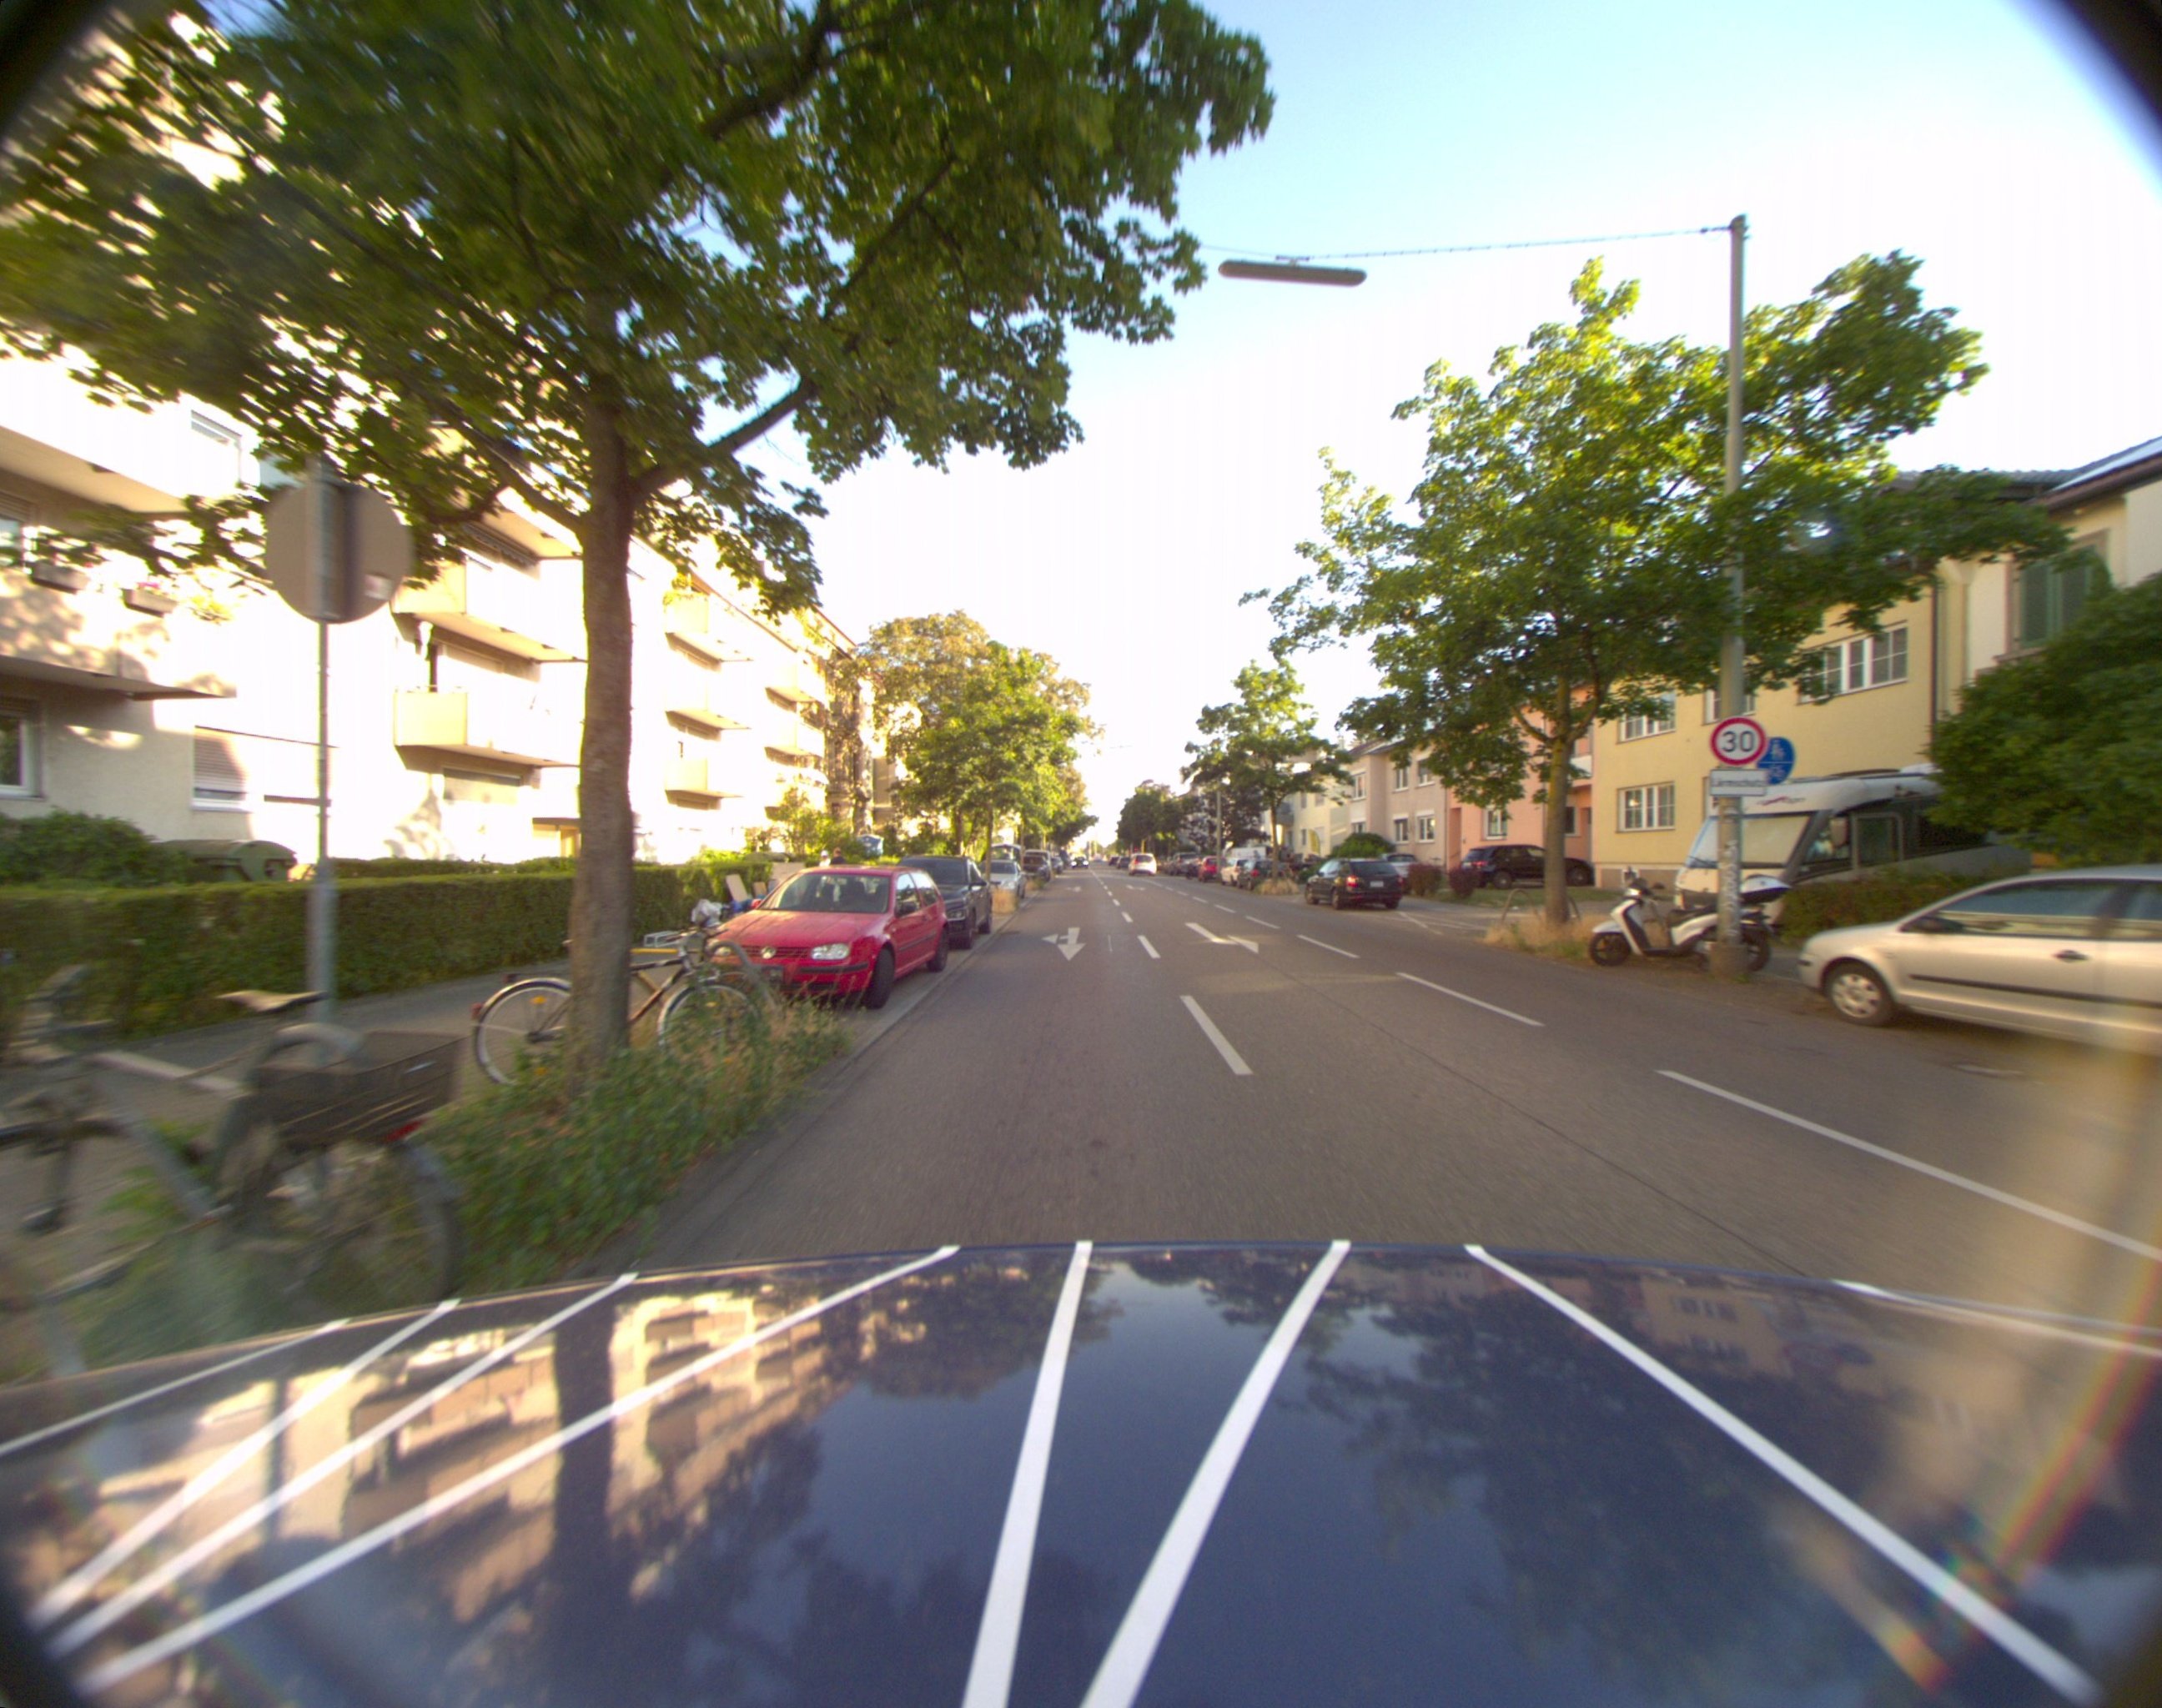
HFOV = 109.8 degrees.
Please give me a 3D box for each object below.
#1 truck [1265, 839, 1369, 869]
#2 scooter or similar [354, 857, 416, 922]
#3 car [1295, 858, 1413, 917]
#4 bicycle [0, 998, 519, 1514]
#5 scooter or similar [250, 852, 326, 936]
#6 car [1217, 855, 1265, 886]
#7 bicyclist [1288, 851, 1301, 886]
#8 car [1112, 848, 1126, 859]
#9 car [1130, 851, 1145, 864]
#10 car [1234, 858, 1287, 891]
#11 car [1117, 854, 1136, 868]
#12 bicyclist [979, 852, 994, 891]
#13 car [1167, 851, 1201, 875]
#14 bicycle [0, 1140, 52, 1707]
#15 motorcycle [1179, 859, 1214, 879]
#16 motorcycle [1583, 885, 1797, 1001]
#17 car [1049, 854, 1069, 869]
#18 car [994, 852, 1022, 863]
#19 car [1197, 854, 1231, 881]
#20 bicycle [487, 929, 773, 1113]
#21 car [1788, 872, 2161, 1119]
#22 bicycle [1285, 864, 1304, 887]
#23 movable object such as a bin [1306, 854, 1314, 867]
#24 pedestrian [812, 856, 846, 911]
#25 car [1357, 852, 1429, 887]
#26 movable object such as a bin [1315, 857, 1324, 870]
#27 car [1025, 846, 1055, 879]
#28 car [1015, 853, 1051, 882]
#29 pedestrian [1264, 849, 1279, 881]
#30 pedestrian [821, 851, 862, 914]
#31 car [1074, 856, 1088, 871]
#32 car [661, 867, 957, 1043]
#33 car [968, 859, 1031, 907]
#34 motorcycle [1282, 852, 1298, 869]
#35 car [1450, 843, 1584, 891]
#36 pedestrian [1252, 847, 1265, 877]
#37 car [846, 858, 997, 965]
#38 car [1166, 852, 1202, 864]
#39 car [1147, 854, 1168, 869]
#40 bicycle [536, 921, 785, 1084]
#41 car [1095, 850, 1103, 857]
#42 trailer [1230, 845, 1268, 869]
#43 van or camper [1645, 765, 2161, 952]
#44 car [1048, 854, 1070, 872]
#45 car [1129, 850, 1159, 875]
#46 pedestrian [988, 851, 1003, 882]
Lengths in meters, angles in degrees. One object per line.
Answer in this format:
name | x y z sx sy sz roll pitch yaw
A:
truck | 17.226 0.003 55.646 6.912 2.172 2.276 0 0 0
scooter or similar | -13.914 0.692 15.198 0.616 1.265 0.668 0 1 0
car | 7.926 0.894 22.562 1.872 1.486 4.517 -2 0 0
bicycle | -2.670 1.076 2.250 1.690 1.101 0.517 2 1 6
scooter or similar | -13.851 0.684 13.292 0.616 1.433 0.668 0 1 0
car | 8.214 0.813 39.382 1.597 1.514 3.890 0 0 -1
bicyclist | 10.031 0.667 35.717 0.470 1.653 0.552 0 1 -1
car | 5.880 -0.055 118.378 1.840 1.561 3.999 2 1 0
car | 8.061 0.460 108.297 1.740 1.799 4.191 0 0 0
car | 8.047 0.887 34.338 1.547 1.388 3.665 0 0 0
car | 5.184 0.762 87.505 1.765 1.443 4.533 2 0 -1
bicyclist | -4.340 0.787 35.008 0.582 1.778 0.852 0 1 0
car | 8.007 0.655 59.514 1.892 1.769 4.725 0 0 -1
bicycle | -2.675 1.137 0.934 0.619 1.045 1.576 0 0 26
motorcycle | 7.520 0.943 49.456 1.184 1.258 2.365 0 0 -24
motorcycle | 7.684 1.062 9.702 2.048 1.257 0.769 0 1 38
car | -2.141 0.728 74.576 1.826 1.469 4.621 0 0 0
car | -10.332 0.515 107.651 3.878 1.496 1.575 0 0 -5
car | 7.883 0.761 45.228 1.596 1.514 3.437 0 0 3
bicycle | -2.924 1.069 5.003 1.574 1.097 0.501 0 1 1
car | 7.750 0.949 5.553 1.597 1.462 3.803 -2 0 0
bicycle | 10.043 0.998 35.782 0.487 1.058 1.534 0 0 -1
movable object such as a bin | 17.996 0.509 59.695 0.504 1.013 0.450 0 1 -1
pedestrian | -7.160 0.811 21.570 0.592 1.531 0.697 0 1 37
car | 13.658 0.644 33.453 1.669 1.401 3.753 1 0 1
movable object such as a bin | 18.111 0.704 57.685 0.504 1.013 0.450 0 1 -1
car | -2.707 0.551 50.887 1.908 2.091 4.640 0 0 -2
car | -2.792 0.751 44.964 1.860 1.594 4.311 2 0 0
pedestrian | 10.739 0.637 42.765 0.715 1.782 0.572 0 1 3
pedestrian | -6.394 0.740 20.292 0.694 1.630 0.759 0 1 35
car | -0.020 1.152 91.526 1.596 1.696 3.999 0 0 0
car | -2.764 0.933 8.777 1.707 1.441 4.014 1 0 4
car | -2.781 0.938 26.749 1.712 1.472 4.268 2 0 0
motorcycle | 17.066 0.514 62.077 0.572 1.366 2.258 2 1 0
car | 16.443 0.472 28.802 3.997 1.626 1.866 -2 0 1
pedestrian | 10.575 0.465 45.276 0.715 1.782 0.506 0 1 2
car | -2.669 0.894 13.662 1.860 1.572 4.013 1 0 0
car | 14.428 0.536 106.642 4.564 1.397 1.739 -2 1 -10
car | 7.776 0.742 77.810 1.641 1.399 4.443 0 0 -1
bicycle | -3.004 1.051 5.488 1.574 1.097 0.392 0 1 1
car | 4.357 -0.098 184.166 1.893 1.793 4.430 2 0 -2
trailer | 14.016 0.270 63.577 2.780 2.002 1.552 0 1 -2
van or camper | 14.373 0.070 13.580 6.815 2.756 2.351 -2 1 -1
car | -1.913 0.761 65.871 1.762 1.412 4.614 2 0 0
car | 4.845 0.647 58.864 1.810 1.794 4.745 1 0 0
pedestrian | -5.013 0.727 44.829 0.823 1.763 1.089 0 1 -4
